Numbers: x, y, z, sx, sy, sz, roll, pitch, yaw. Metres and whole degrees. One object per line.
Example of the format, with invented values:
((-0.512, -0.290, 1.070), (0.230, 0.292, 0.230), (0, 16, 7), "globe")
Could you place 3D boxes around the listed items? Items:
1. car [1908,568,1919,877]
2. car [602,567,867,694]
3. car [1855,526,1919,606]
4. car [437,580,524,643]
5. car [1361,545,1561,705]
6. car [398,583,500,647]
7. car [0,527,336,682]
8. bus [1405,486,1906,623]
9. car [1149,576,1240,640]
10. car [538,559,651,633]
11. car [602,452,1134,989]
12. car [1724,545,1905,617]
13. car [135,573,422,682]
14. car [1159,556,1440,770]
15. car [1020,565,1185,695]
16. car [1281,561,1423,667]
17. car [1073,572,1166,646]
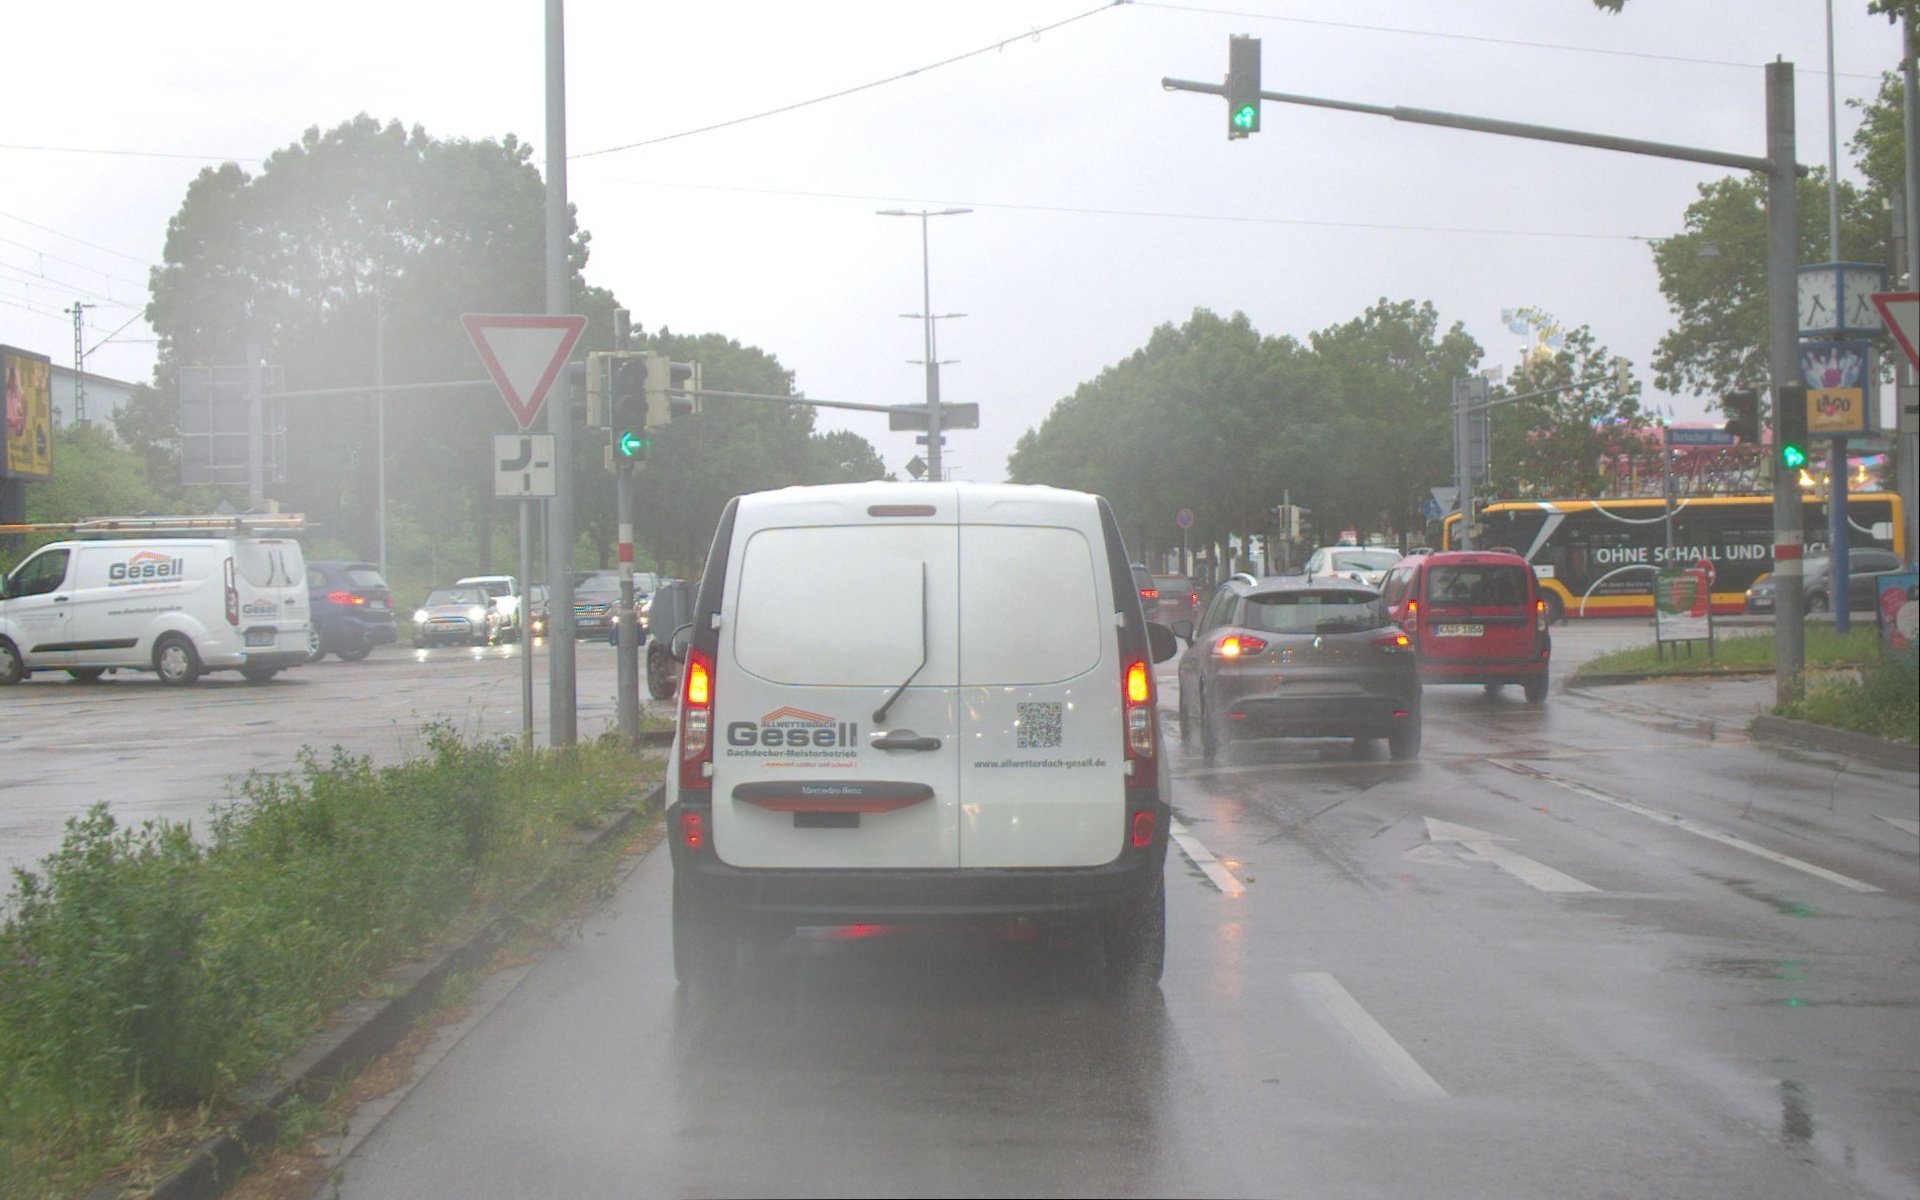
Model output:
((5.483, 0.611, 14.940), (1.678, 1.486, 3.621), (0, 1, -1), "car")
((-2.525, 0.306, 37.834), (1.578, 1.301, 3.459), (-2, 1, -29), "car")
((23.614, -0.844, 81.592), (4.732, 1.842, 2.077), (-2, 1, -37), "car")
((-11.927, 0.273, 85.688), (1.827, 1.477, 4.001), (-1, 1, -3), "car")
((5.476, 0.244, 37.948), (1.632, 1.650, 3.485), (1, 1, -1), "car")
((-11.746, 0.316, 79.227), (1.892, 1.344, 4.001), (-1, 1, -3), "car")
((-10.998, 0.060, 46.143), (4.810, 1.949, 1.998), (-1, 1, 23), "car")
((17.888, -1.175, 88.976), (12.249, 3.257, 3.275), (-1, 1, 0), "bus")
((5.929, 0.179, 87.271), (1.993, 1.555, 4.000), (1, 0, 0), "car")
((-8.598, -0.119, 81.104), (2.022, 1.651, 4.061), (-1, 1, 3), "car")
((-0.327, 0.378, 13.412), (1.756, 1.771, 4.000), (0, 1, -1), "car")
((20.587, -0.464, 82.782), (4.329, 1.645, 1.933), (-2, 1, -37), "car")
((-10.735, 0.429, 54.211), (3.935, 1.613, 1.998), (-1, 1, 19), "car")
((2.711, 0.468, 28.269), (1.842, 1.612, 4.000), (1, 0, -1), "car")
((1.883, 0.366, 46.531), (1.835, 1.650, 4.001), (1, 1, -3), "car")
((6.248, 0.198, 55.127), (1.842, 1.612, 4.000), (1, 0, 1), "car")
((3.538, 0.181, 76.713), (1.993, 1.568, 4.000), (0, 1, 2), "car")
